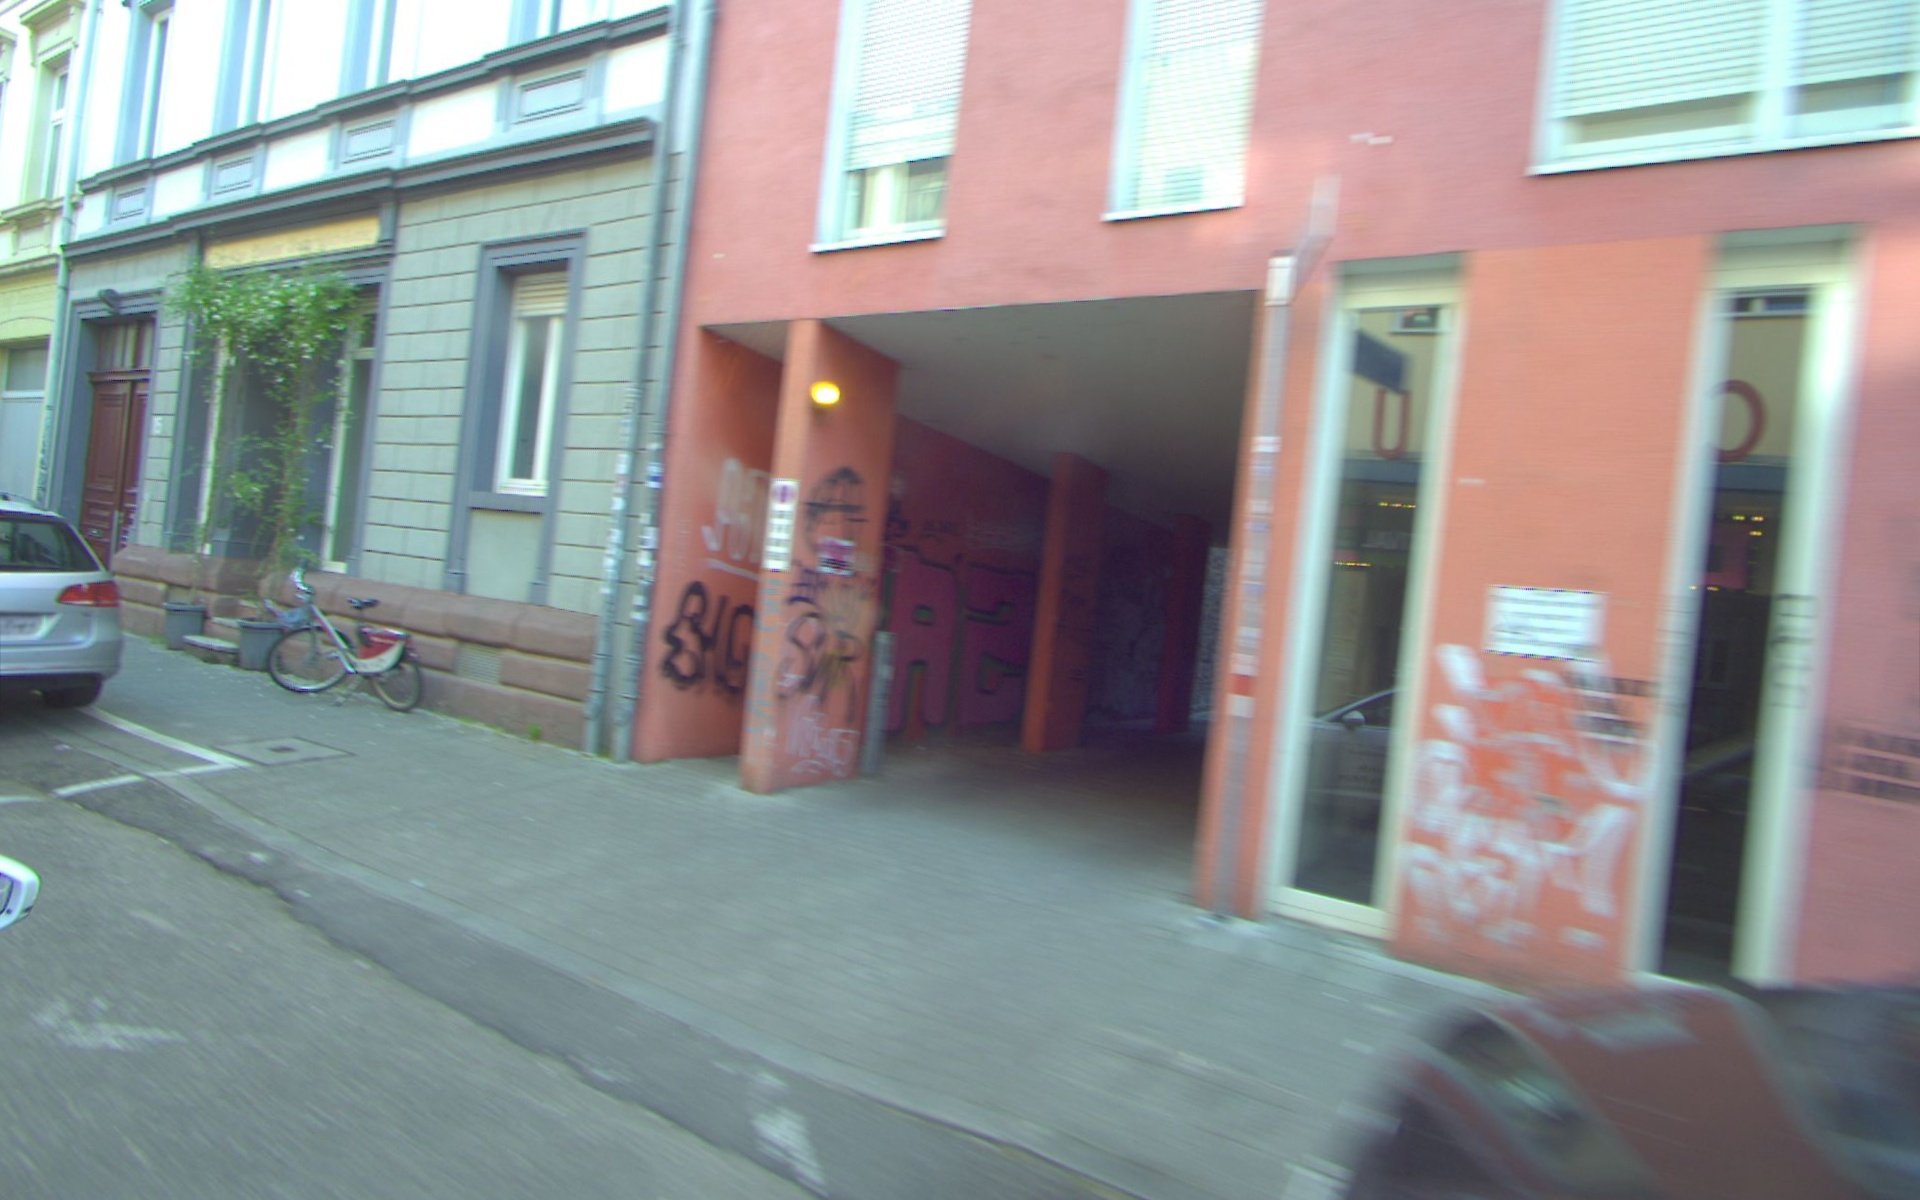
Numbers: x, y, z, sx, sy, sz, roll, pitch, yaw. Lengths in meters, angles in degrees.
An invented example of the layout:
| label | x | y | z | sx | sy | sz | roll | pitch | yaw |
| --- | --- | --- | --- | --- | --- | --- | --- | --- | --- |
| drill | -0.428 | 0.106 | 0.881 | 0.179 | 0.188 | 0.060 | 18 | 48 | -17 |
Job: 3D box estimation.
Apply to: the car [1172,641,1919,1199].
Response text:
| label | x | y | z | sx | sy | sz | roll | pitch | yaw |
| --- | --- | --- | --- | --- | --- | --- | --- | --- | --- |
| car | 2.093 | 1.008 | 1.007 | 3.393 | 1.560 | 1.602 | 6 | 2 | 32 |

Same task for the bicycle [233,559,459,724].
| label | x | y | z | sx | sy | sz | roll | pitch | yaw |
| --- | --- | --- | --- | --- | --- | --- | --- | --- | --- |
| bicycle | -5.069 | 0.306 | 8.279 | 1.868 | 1.112 | 0.711 | 6 | 2 | 29 |

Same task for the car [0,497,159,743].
| label | x | y | z | sx | sy | sz | roll | pitch | yaw |
| --- | --- | --- | --- | --- | --- | --- | --- | --- | --- |
| car | -7.816 | -0.072 | 7.163 | 4.470 | 1.474 | 1.787 | 6 | 2 | 30 |
